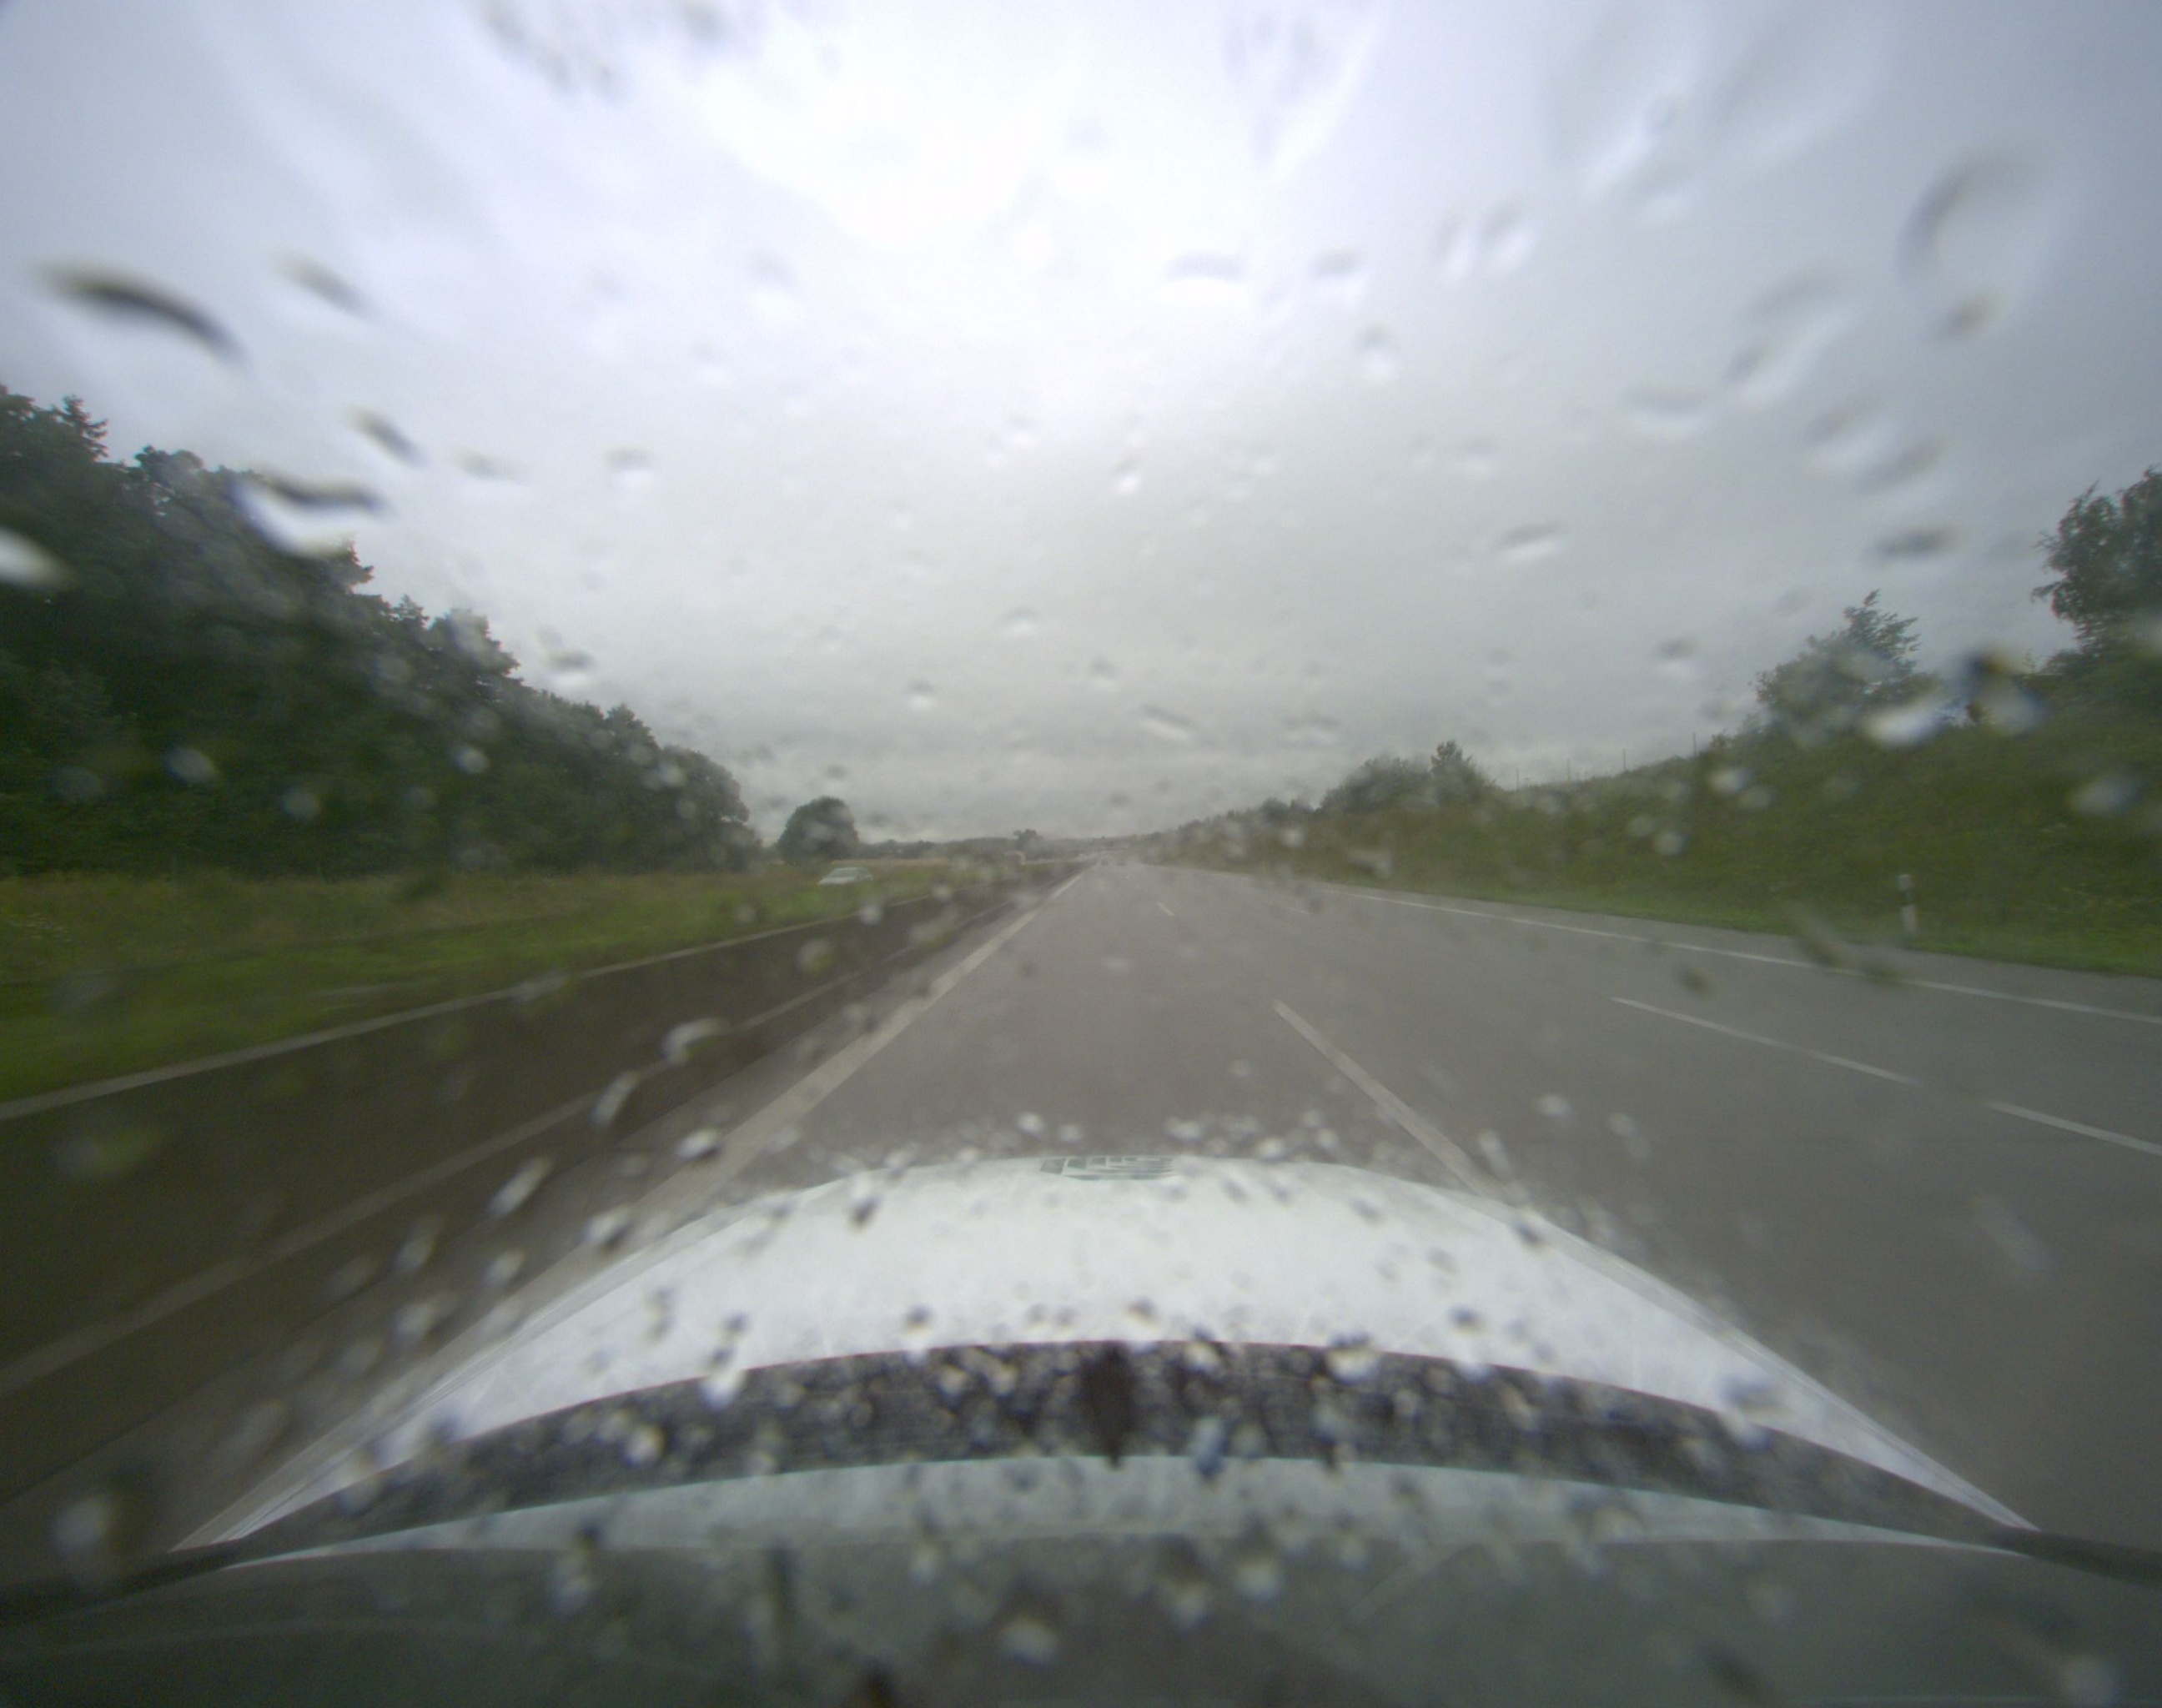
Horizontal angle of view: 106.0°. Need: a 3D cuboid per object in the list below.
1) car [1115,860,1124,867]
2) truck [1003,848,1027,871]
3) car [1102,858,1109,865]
[{"bbox_3d":[7.975,2.034,168.925,1.842,1.331,4.429,-1,1,0],"label":"car"},{"bbox_3d":[-11.908,0.964,148.673,2.892,3.855,12.454,-2,0,1],"label":"truck"},{"bbox_3d":[5.548,1.740,184.452,1.722,1.331,4.432,-1,1,2],"label":"car"}]
